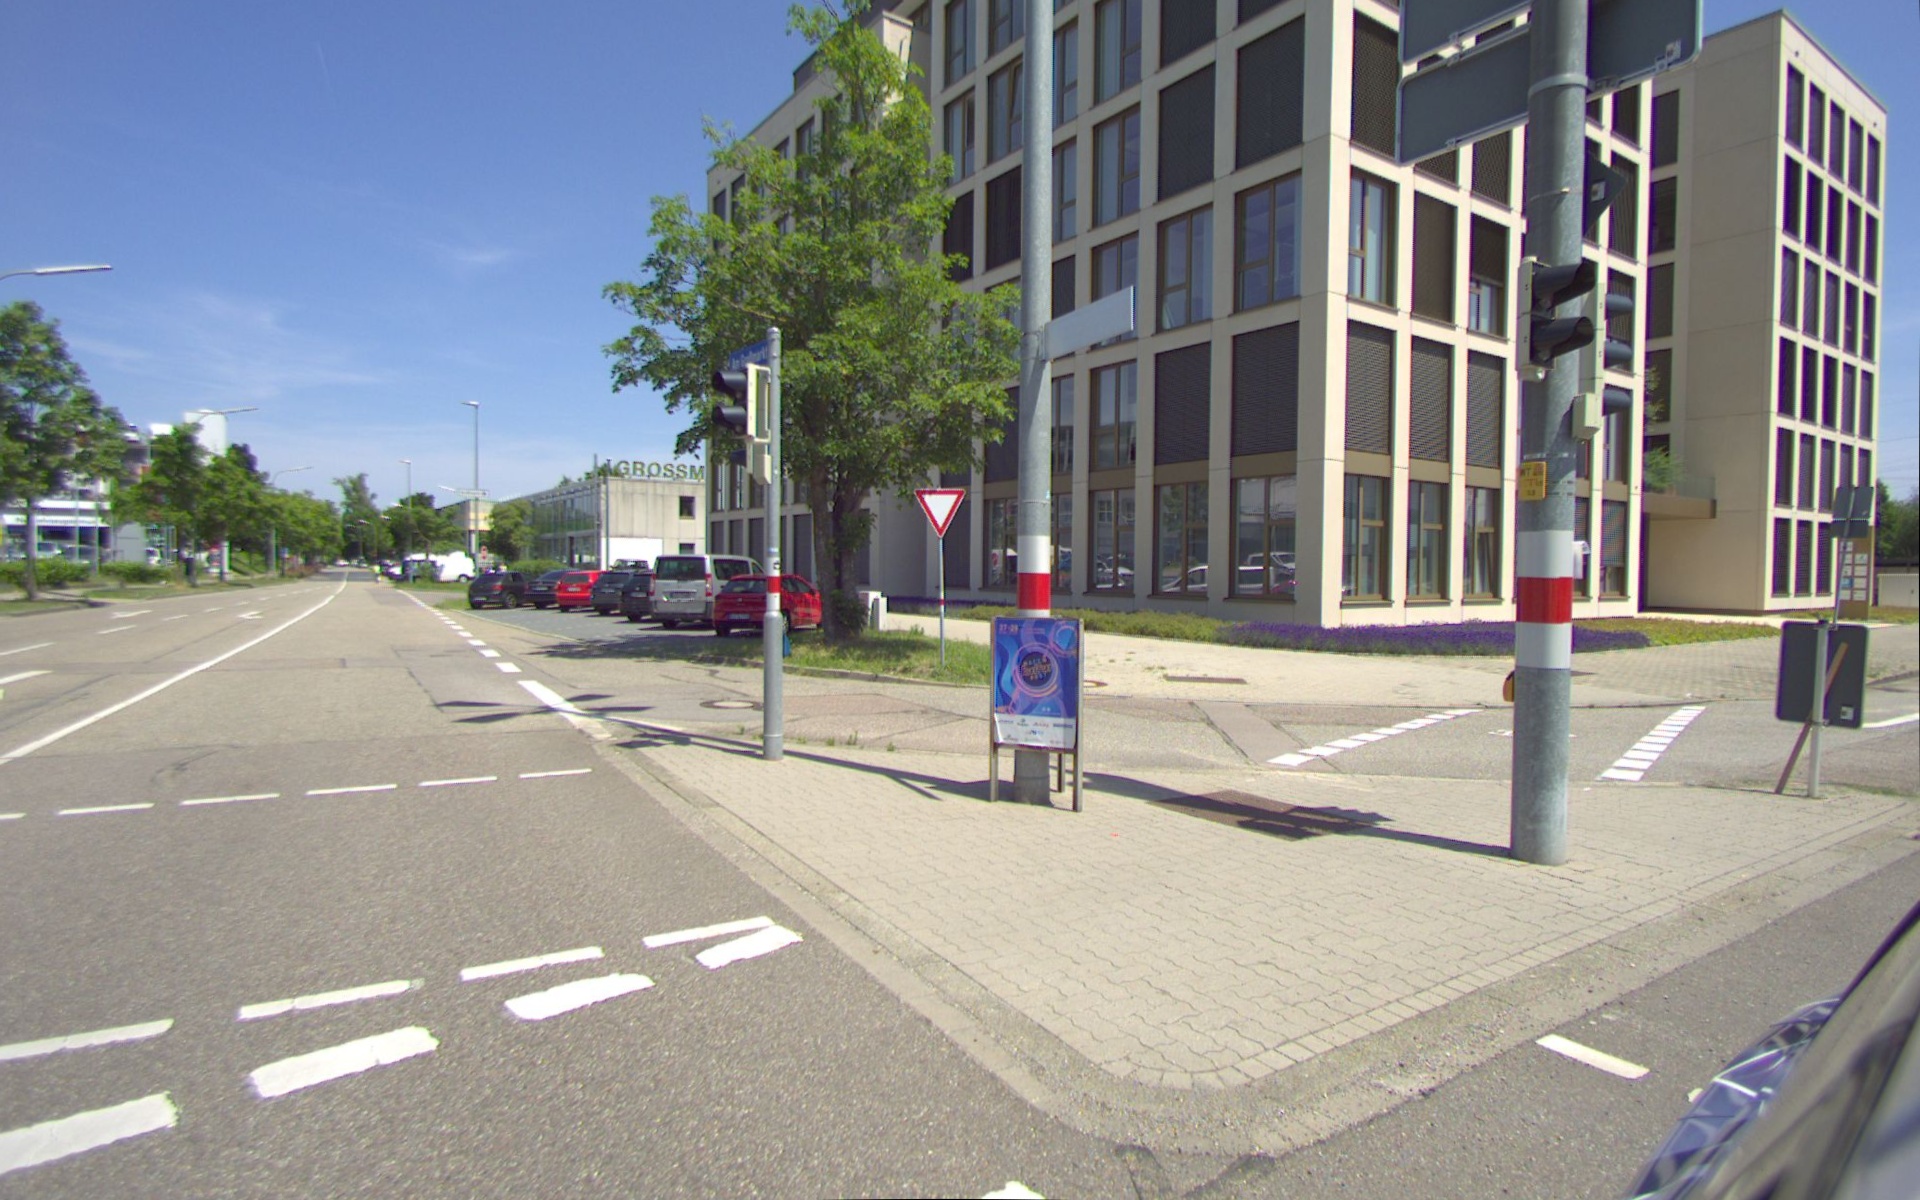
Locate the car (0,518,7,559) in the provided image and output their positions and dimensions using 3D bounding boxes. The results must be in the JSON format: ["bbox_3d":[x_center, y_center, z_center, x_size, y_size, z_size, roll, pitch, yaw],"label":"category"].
[{"bbox_3d":[-47.329,-2.882,46.831,4.503,1.910,1.913,-1,2,-37],"label":"car"}]

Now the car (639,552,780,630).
[{"bbox_3d":[-6.666,-0.283,27.565,1.889,1.910,4.918,1,1,10],"label":"car"}]

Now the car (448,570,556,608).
[{"bbox_3d":[-17.631,-0.459,39.191,1.889,1.349,3.989,1,2,11],"label":"car"}]

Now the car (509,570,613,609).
[{"bbox_3d":[-15.027,-0.444,38.359,1.845,1.392,3.989,1,2,11],"label":"car"}]

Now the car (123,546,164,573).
[{"bbox_3d":[-62.876,-3.123,77.962,1.881,2.038,4.004,0,2,-31],"label":"car"}]

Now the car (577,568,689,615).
[{"bbox_3d":[-10.722,-0.332,33.526,1.889,1.457,3.989,1,2,11],"label":"car"}]

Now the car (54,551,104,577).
[{"bbox_3d":[-55.091,-2.245,63.342,1.747,1.540,3.692,0,2,-31],"label":"car"}]

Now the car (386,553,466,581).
[{"bbox_3d":[-50.401,-3.071,95.626,6.564,2.552,2.220,-1,0,-32],"label":"car"}]

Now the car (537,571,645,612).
[{"bbox_3d":[-13.063,-0.348,36.110,1.889,1.370,3.989,1,2,11],"label":"car"}]

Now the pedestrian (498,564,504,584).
[{"bbox_3d":[-35.925,-2.056,79.192,0.397,1.579,0.549,0,1,-33],"label":"pedestrian"}]

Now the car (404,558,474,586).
[{"bbox_3d":[-39.123,-2.099,76.046,4.489,2.039,2.000,-1,0,-34],"label":"car"}]

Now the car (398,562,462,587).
[{"bbox_3d":[-43.916,-2.087,83.849,4.489,2.039,2.000,-1,0,-34],"label":"car"}]

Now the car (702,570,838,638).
[{"bbox_3d":[-4.495,0.023,24.524,1.676,1.450,3.982,0,2,15],"label":"car"}]

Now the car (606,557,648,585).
[{"bbox_3d":[-22.649,-1.943,68.709,1.761,1.750,4.002,-1,0,-32],"label":"car"}]

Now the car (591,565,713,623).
[{"bbox_3d":[-9.081,-0.227,30.207,1.889,1.609,3.988,1,2,11],"label":"car"}]

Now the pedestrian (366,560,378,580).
[{"bbox_3d":[-50.745,-2.578,87.303,0.857,1.697,0.758,0,1,-30],"label":"pedestrian"}]
